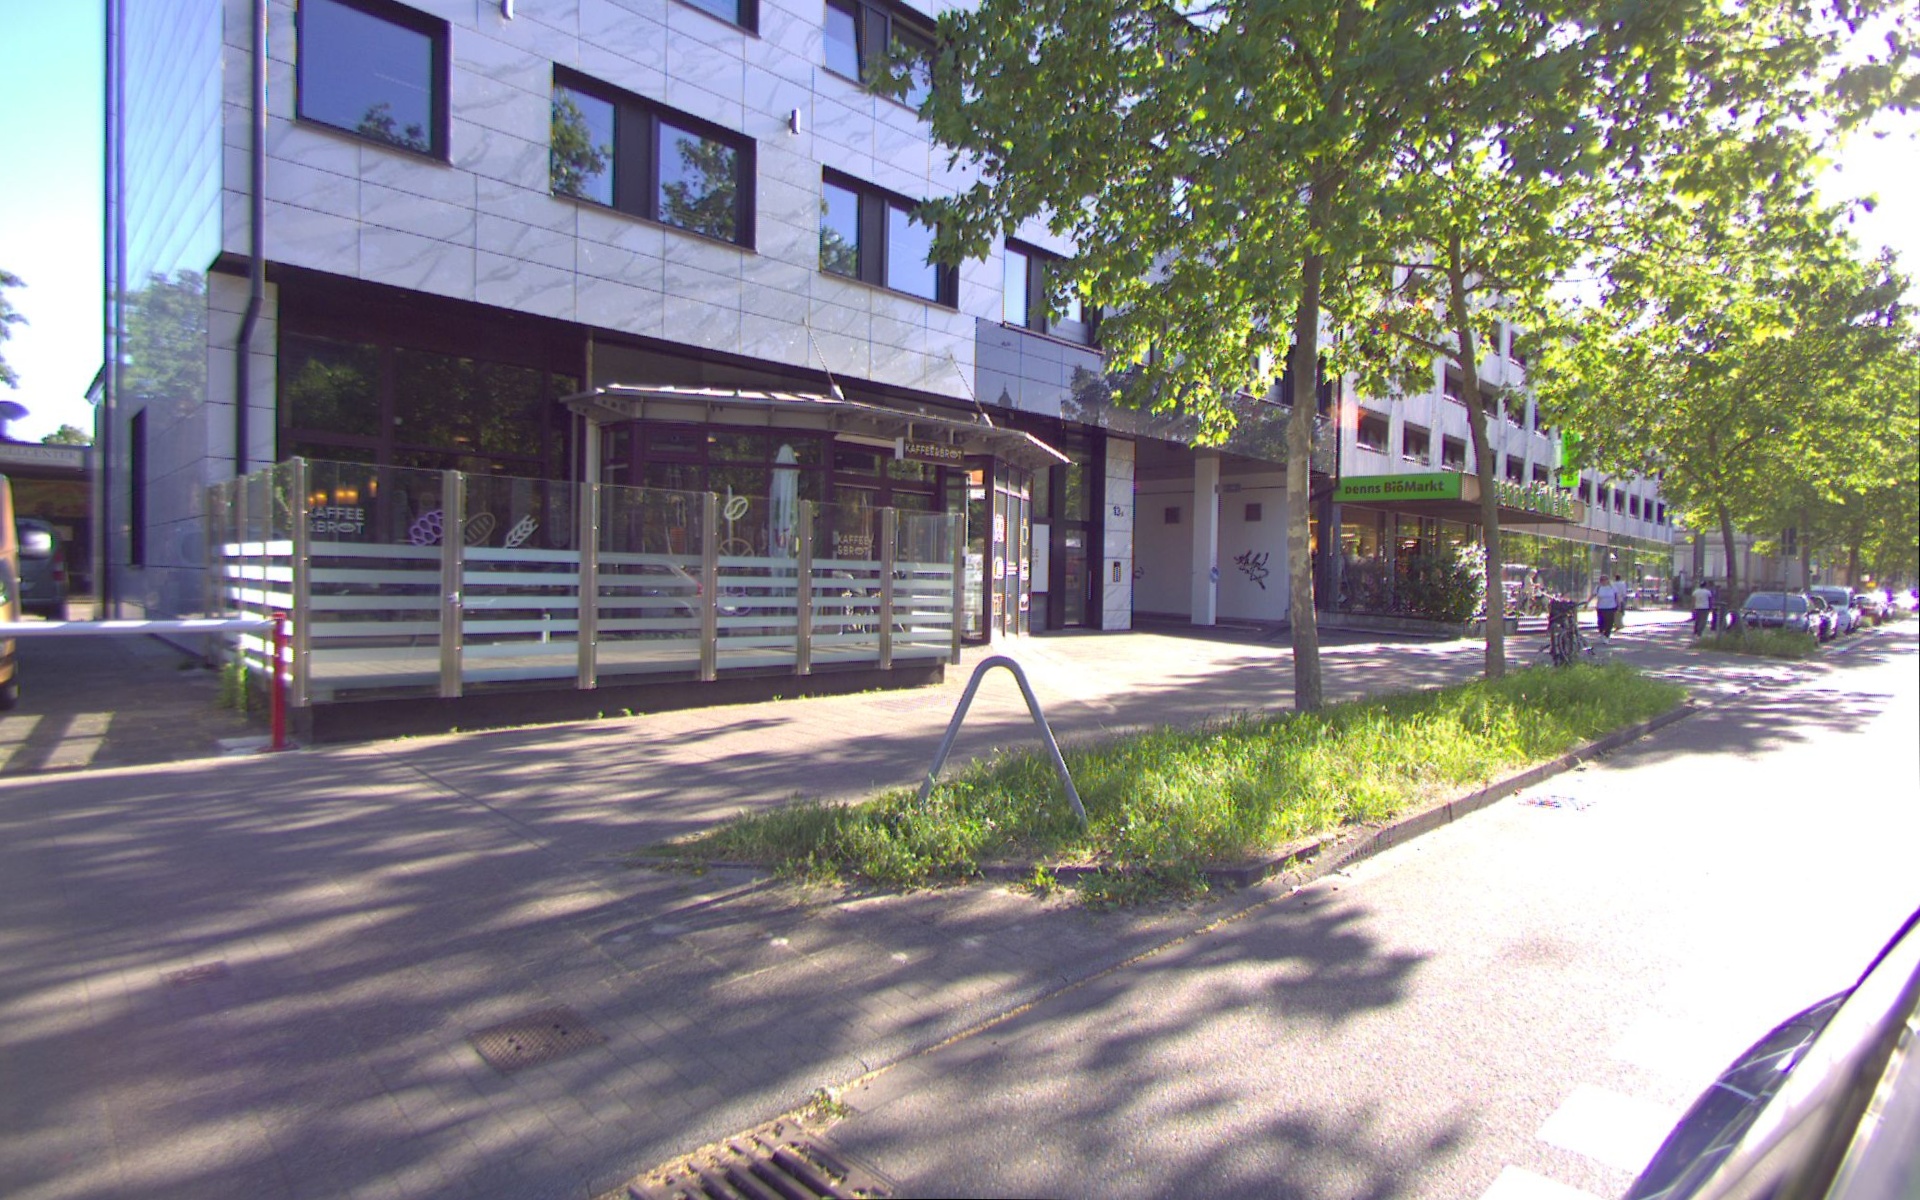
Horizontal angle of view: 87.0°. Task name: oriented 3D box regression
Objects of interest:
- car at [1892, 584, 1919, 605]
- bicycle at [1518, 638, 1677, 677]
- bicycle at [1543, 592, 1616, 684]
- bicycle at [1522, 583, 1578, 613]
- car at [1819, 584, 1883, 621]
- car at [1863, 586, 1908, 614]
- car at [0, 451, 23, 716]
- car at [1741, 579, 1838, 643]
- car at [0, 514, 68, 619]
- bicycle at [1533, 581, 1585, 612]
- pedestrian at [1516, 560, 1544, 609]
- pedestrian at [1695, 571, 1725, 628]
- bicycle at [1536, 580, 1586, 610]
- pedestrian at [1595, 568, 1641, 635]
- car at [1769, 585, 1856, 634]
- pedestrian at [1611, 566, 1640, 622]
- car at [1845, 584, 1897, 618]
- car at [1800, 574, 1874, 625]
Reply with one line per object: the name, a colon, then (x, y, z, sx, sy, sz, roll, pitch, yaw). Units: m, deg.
car: (73.796, -0.408, 78.619, 4.204, 1.584, 1.835, -1, 1, -45)
bicycle: (8.899, 0.779, 14.133, 1.366, 0.357, 1.610, -1, 3, -44)
bicycle: (8.644, 0.483, 14.104, 0.785, 1.147, 1.825, 2, 2, 33)
bicycle: (20.644, -0.084, 35.434, 0.573, 0.927, 1.656, 4, 2, -17)
car: (37.902, 0.061, 43.004, 1.730, 1.420, 4.226, 4, 4, 45)
car: (52.100, -0.025, 56.939, 3.866, 1.459, 1.627, -1, 3, -45)
car: (-9.505, -0.296, 8.842, 1.881, 2.008, 4.904, 0, 5, -43)
car: (22.398, 0.237, 27.283, 3.934, 1.569, 1.566, -1, 2, -44)
car: (-16.782, -0.617, 17.767, 1.568, 1.692, 3.614, 0, 3, -43)
bicycle: (23.090, -0.153, 39.021, 0.573, 1.068, 1.710, 3, 3, -17)
pedestrian: (20.991, -0.574, 37.303, 0.607, 1.735, 0.609, 7, 5, 21)
pedestrian: (23.056, -0.032, 31.109, 1.035, 1.725, 0.560, 0, 2, -45)
bicycle: (23.677, -0.203, 39.903, 0.573, 1.068, 1.710, 2, 3, -17)
pedestrian: (16.588, 0.024, 25.522, 0.853, 1.632, 0.699, 0, 3, -43)
car: (27.236, 0.238, 32.280, 1.762, 1.435, 4.625, 1, 1, 45)
pedestrian: (21.406, -0.188, 32.536, 0.864, 1.766, 0.560, 0, 2, -45)
car: (44.858, 0.017, 49.793, 1.674, 1.455, 3.632, 5, 5, 44)
car: (33.847, -0.059, 39.028, 4.320, 1.814, 1.766, 0, 2, -44)
